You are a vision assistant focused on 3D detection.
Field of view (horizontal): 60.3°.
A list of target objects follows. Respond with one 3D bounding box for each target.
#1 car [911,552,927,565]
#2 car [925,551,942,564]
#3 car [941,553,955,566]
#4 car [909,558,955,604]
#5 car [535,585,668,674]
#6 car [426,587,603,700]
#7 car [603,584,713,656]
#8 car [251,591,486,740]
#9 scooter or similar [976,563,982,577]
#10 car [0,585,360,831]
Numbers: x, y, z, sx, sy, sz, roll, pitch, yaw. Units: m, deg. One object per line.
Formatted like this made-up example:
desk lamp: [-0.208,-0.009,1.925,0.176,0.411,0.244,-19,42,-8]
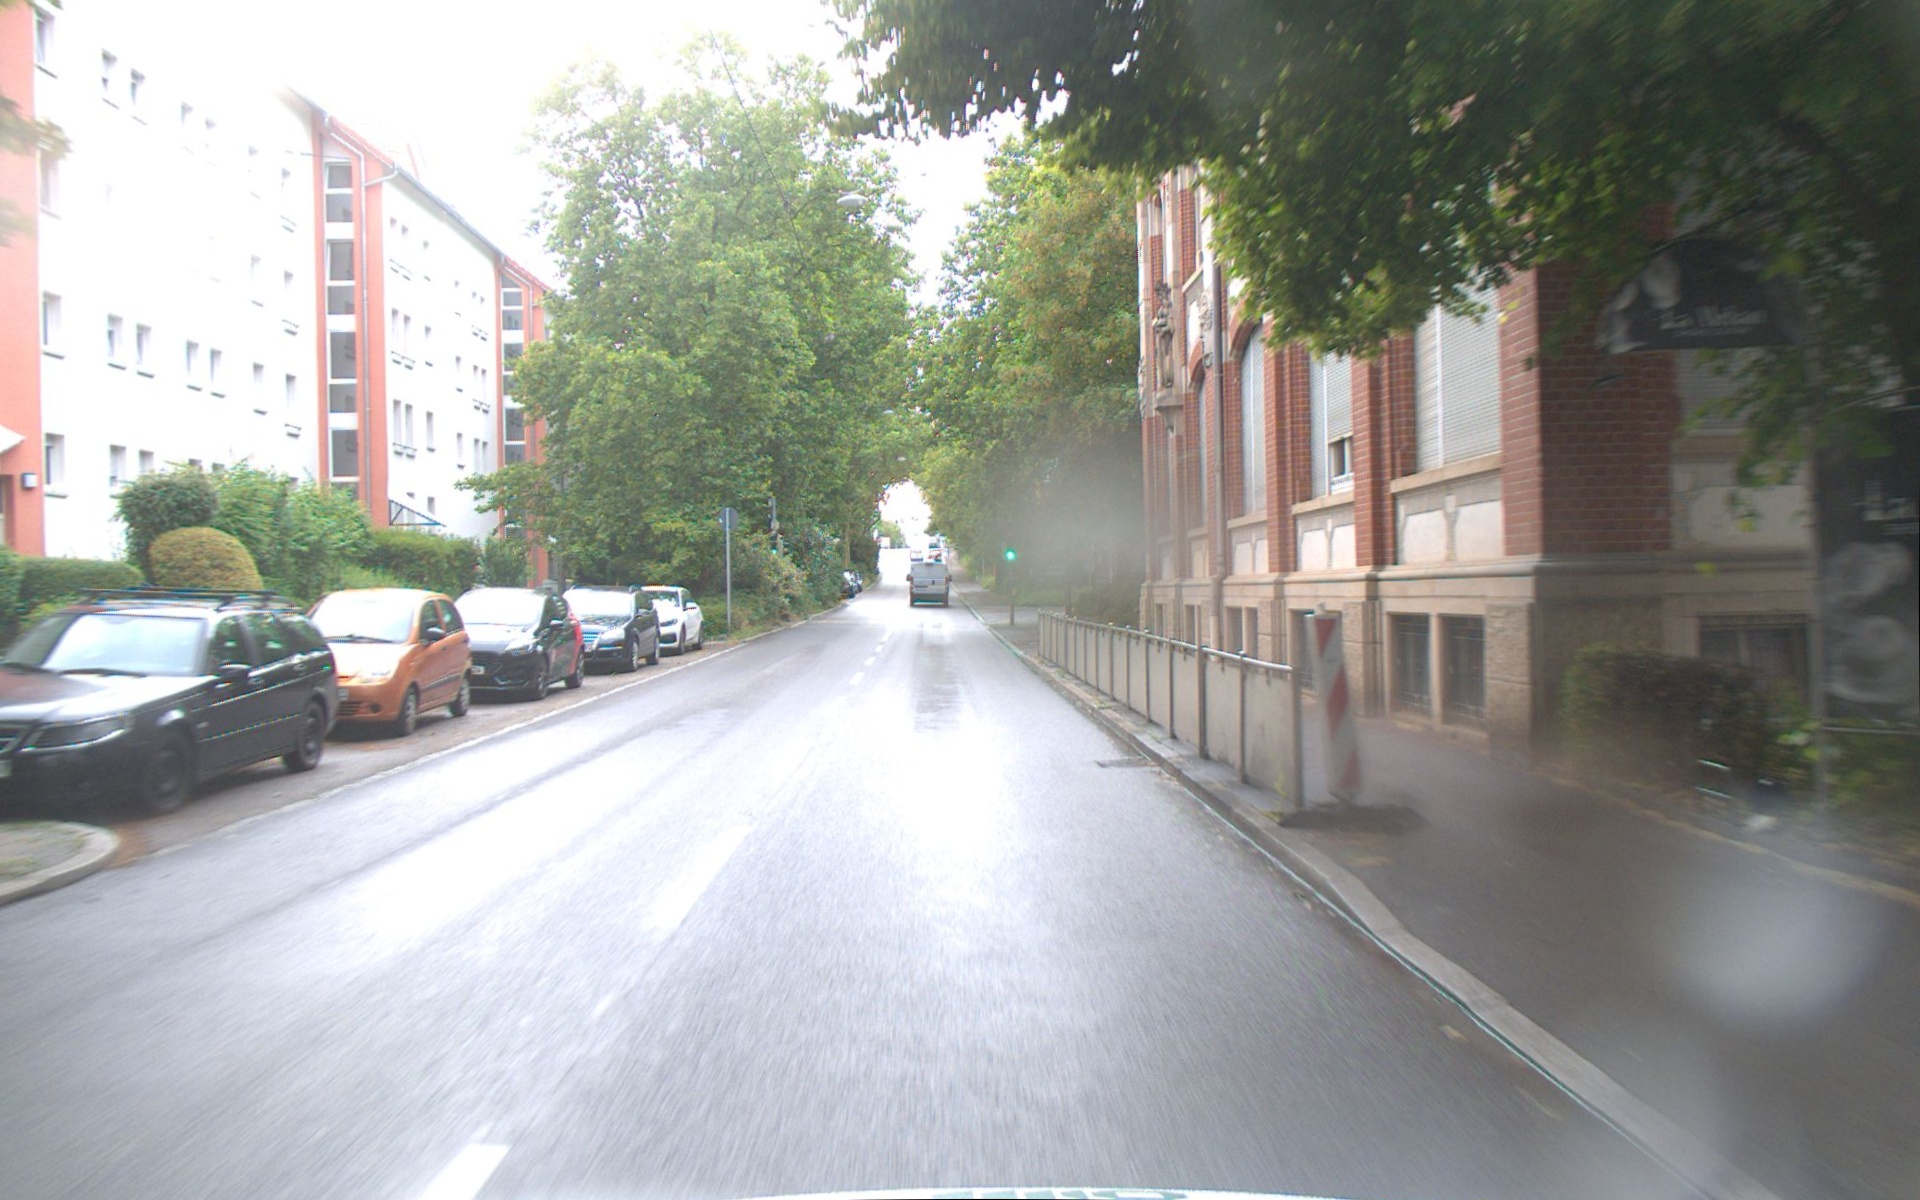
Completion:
car: [-6.050,-6.131,246.401,2.114,1.739,3.874,1,0,3]
car: [-3.799,-6.137,238.223,2.103,1.739,3.874,1,0,3]
car: [-1.790,-6.053,246.497,1.890,1.739,3.874,1,0,3]
car: [-1.450,-0.978,85.732,2.288,2.270,4.000,-2,0,-1]
car: [-6.409,0.473,29.939,1.682,1.493,4.231,0,1,-3]
car: [-6.333,0.566,23.877,1.682,1.493,3.754,0,1,-3]
car: [-6.651,0.401,36.846,1.682,1.493,4.309,0,1,0]
car: [-6.489,0.654,18.486,1.524,1.493,3.395,0,1,-3]
scooter or similar: [1.612,-2.538,141.092,0.417,1.162,1.528,1,0,-3]
car: [-6.252,0.660,12.792,1.682,1.535,4.802,0,1,-3]
